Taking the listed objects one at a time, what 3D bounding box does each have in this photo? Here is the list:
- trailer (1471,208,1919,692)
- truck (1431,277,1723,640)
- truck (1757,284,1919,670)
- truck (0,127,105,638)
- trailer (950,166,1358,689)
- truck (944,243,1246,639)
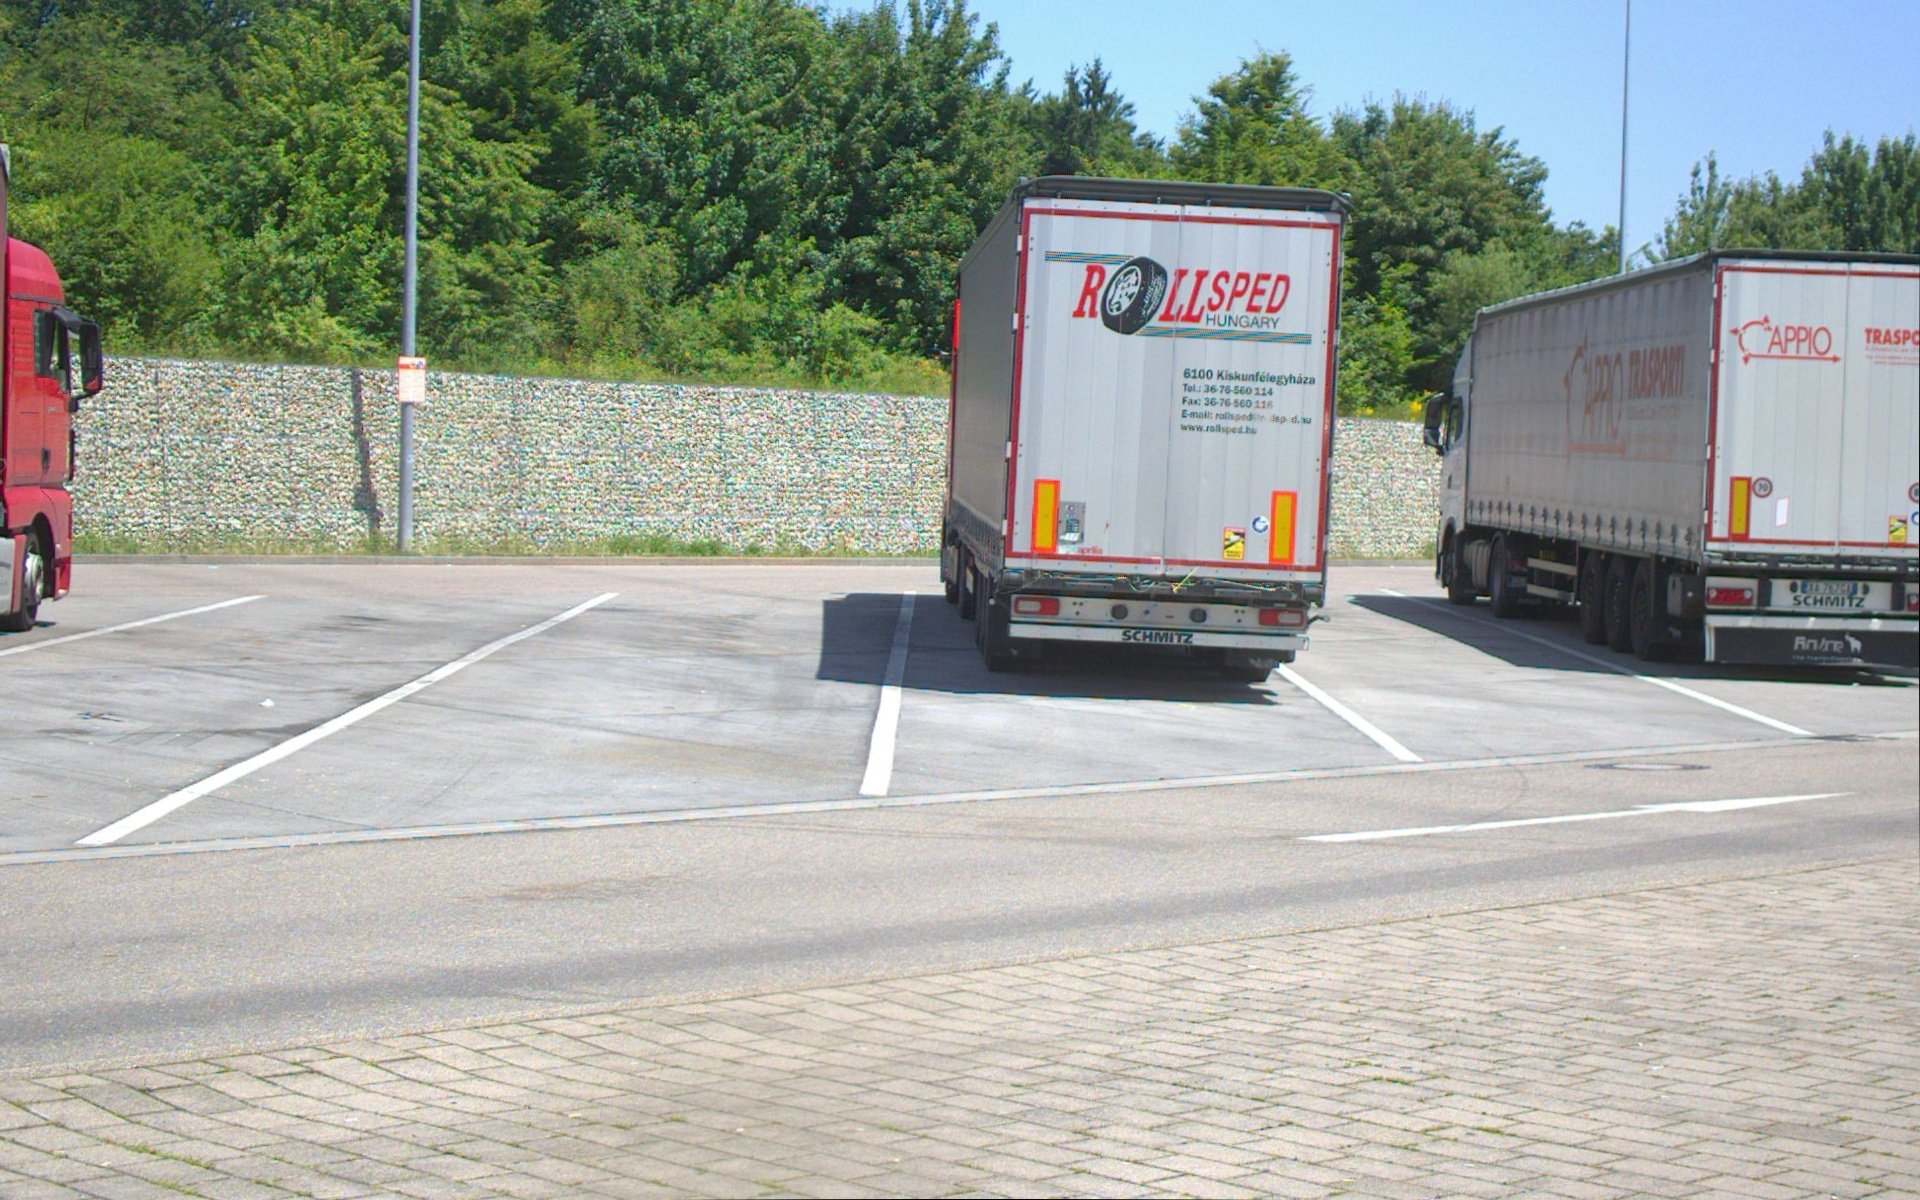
[{"bbox_3d":[8.128,-1.582,38.153,2.681,4.437,12.831,1,2,-1],"label":"trailer"},{"bbox_3d":[7.994,-1.831,45.261,2.661,4.437,5.864,1,2,-1],"label":"truck"},{"bbox_3d":[11.745,-1.343,38.681,2.587,4.211,11.971,1,1,-1],"label":"truck"},{"bbox_3d":[-9.161,-1.782,28.356,2.805,4.119,5.894,1,2,-1],"label":"truck"},{"bbox_3d":[1.476,-1.509,32.164,2.897,4.000,11.318,1,2,-1],"label":"trailer"},{"bbox_3d":[1.350,-1.697,37.753,2.871,3.967,6.030,1,2,-2],"label":"truck"}]
